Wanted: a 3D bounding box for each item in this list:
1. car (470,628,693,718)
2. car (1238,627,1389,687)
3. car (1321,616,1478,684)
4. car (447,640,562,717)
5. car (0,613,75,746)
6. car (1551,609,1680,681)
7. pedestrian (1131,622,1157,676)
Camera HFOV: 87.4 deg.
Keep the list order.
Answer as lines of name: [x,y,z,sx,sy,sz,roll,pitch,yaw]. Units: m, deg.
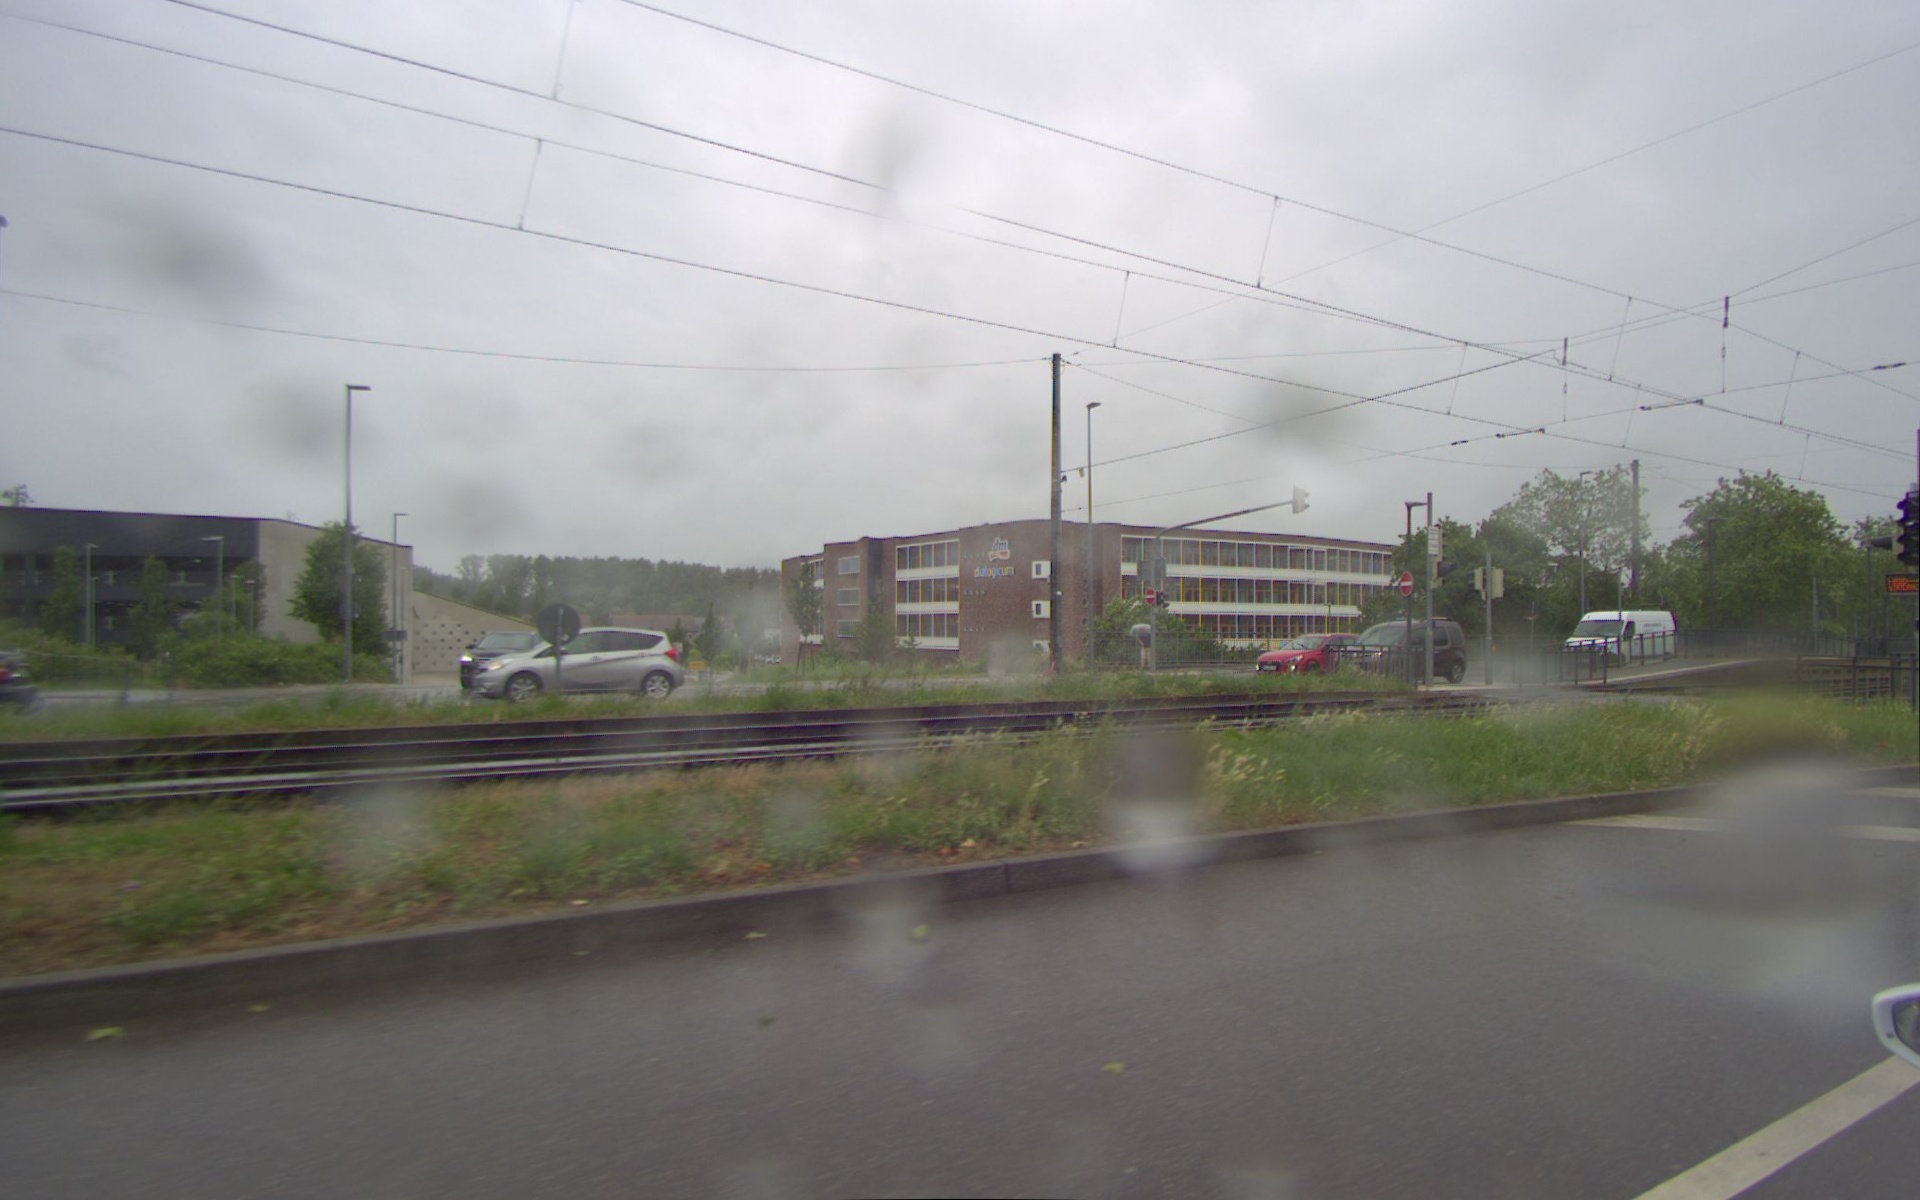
car: [-7.817,1.427,20.781,4.046,1.617,1.984,1,0,-30]
car: [11.047,1.735,31.347,4.571,1.729,1.984,1,-1,-31]
car: [12.426,1.371,28.375,4.208,1.795,1.984,1,-1,-31]
car: [-12.773,2.148,28.429,1.964,1.884,3.993,1,-1,-9]
car: [-13.888,1.020,12.200,4.329,1.616,1.985,1,-5,-30]
car: [26.750,1.793,40.941,5.671,2.748,2.109,1,-1,-31]
pedestrian: [7.151,1.899,39.086,0.688,2.040,0.695,1,-1,-30]
